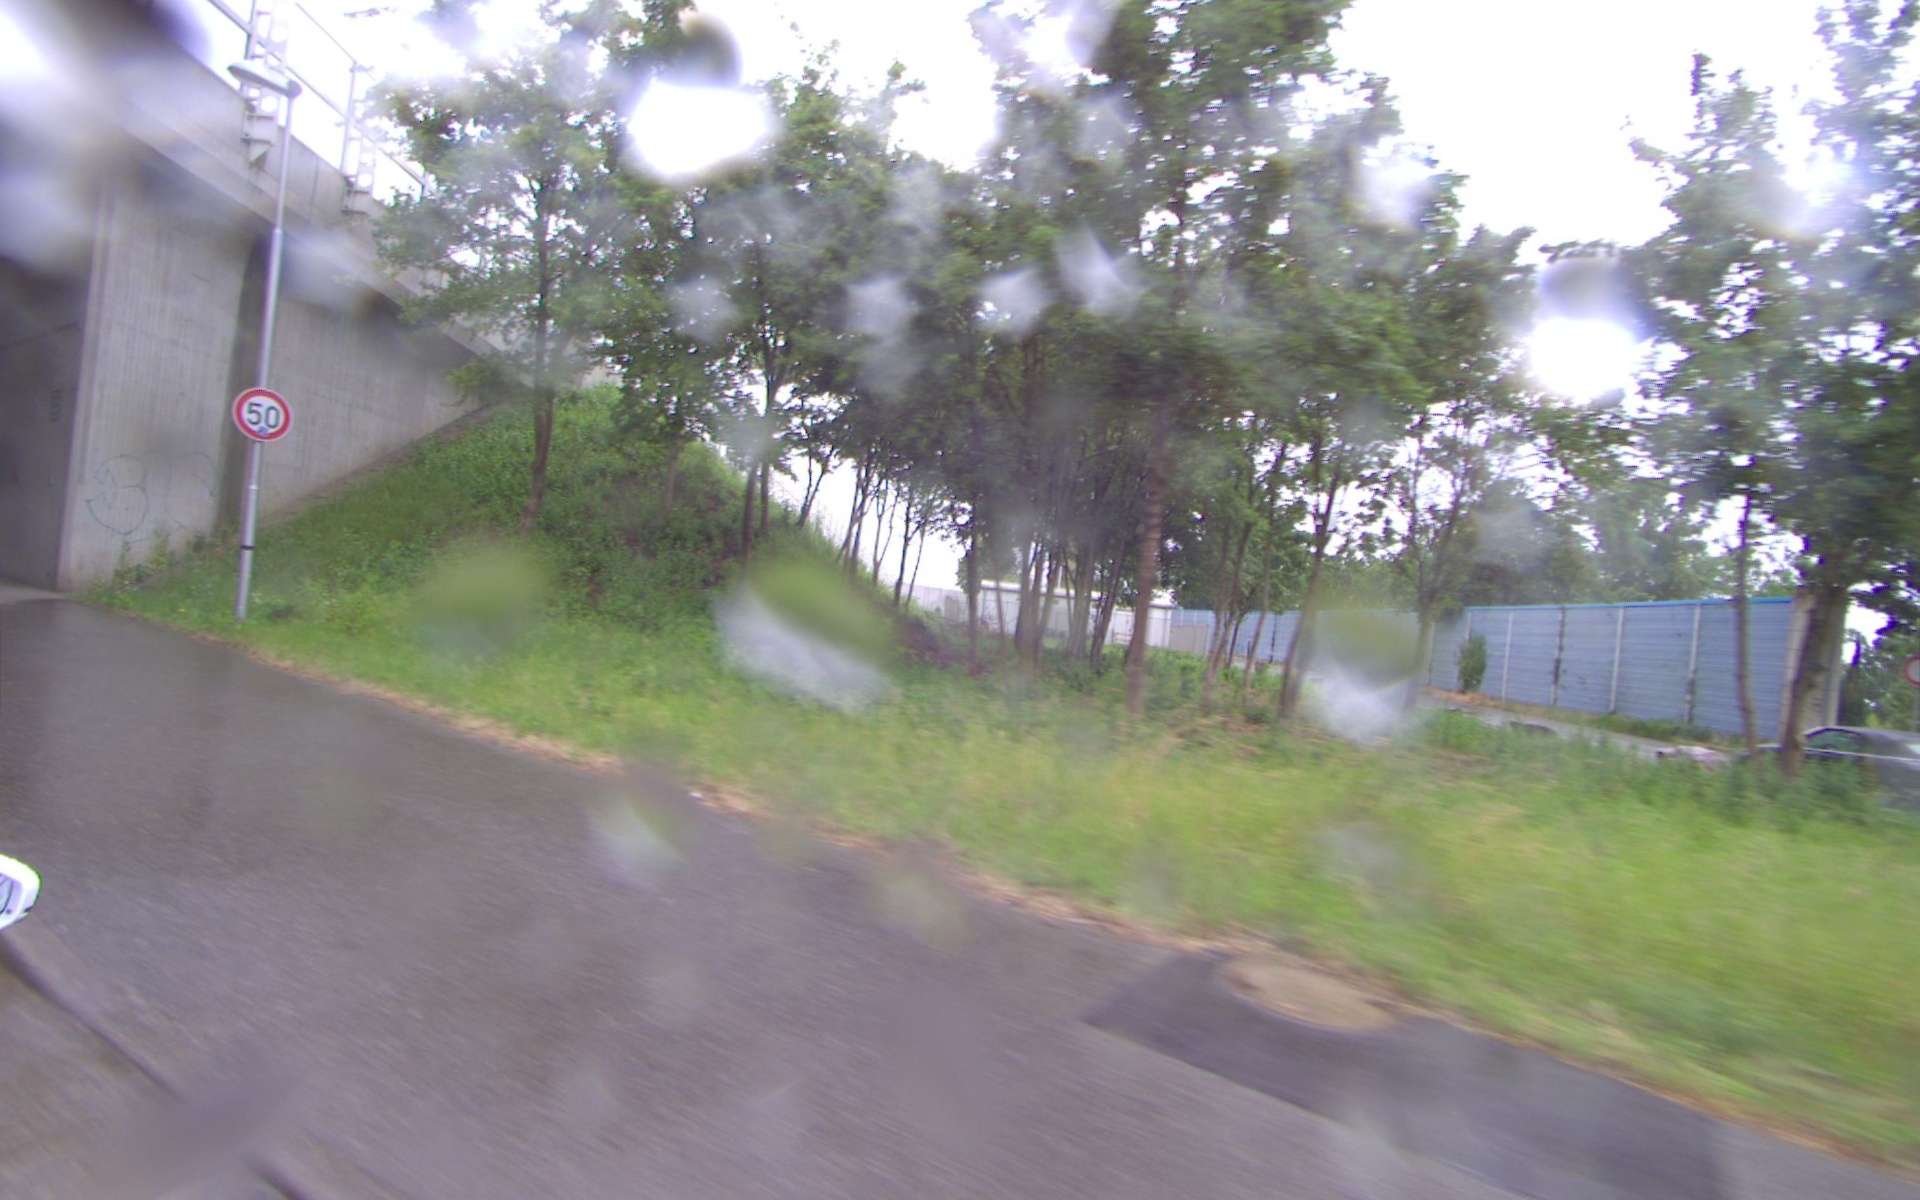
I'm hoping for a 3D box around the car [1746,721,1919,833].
[{"bbox_3d":[14.573,2.788,15.610,1.868,1.374,4.118,7,-3,9],"label":"car"}]
